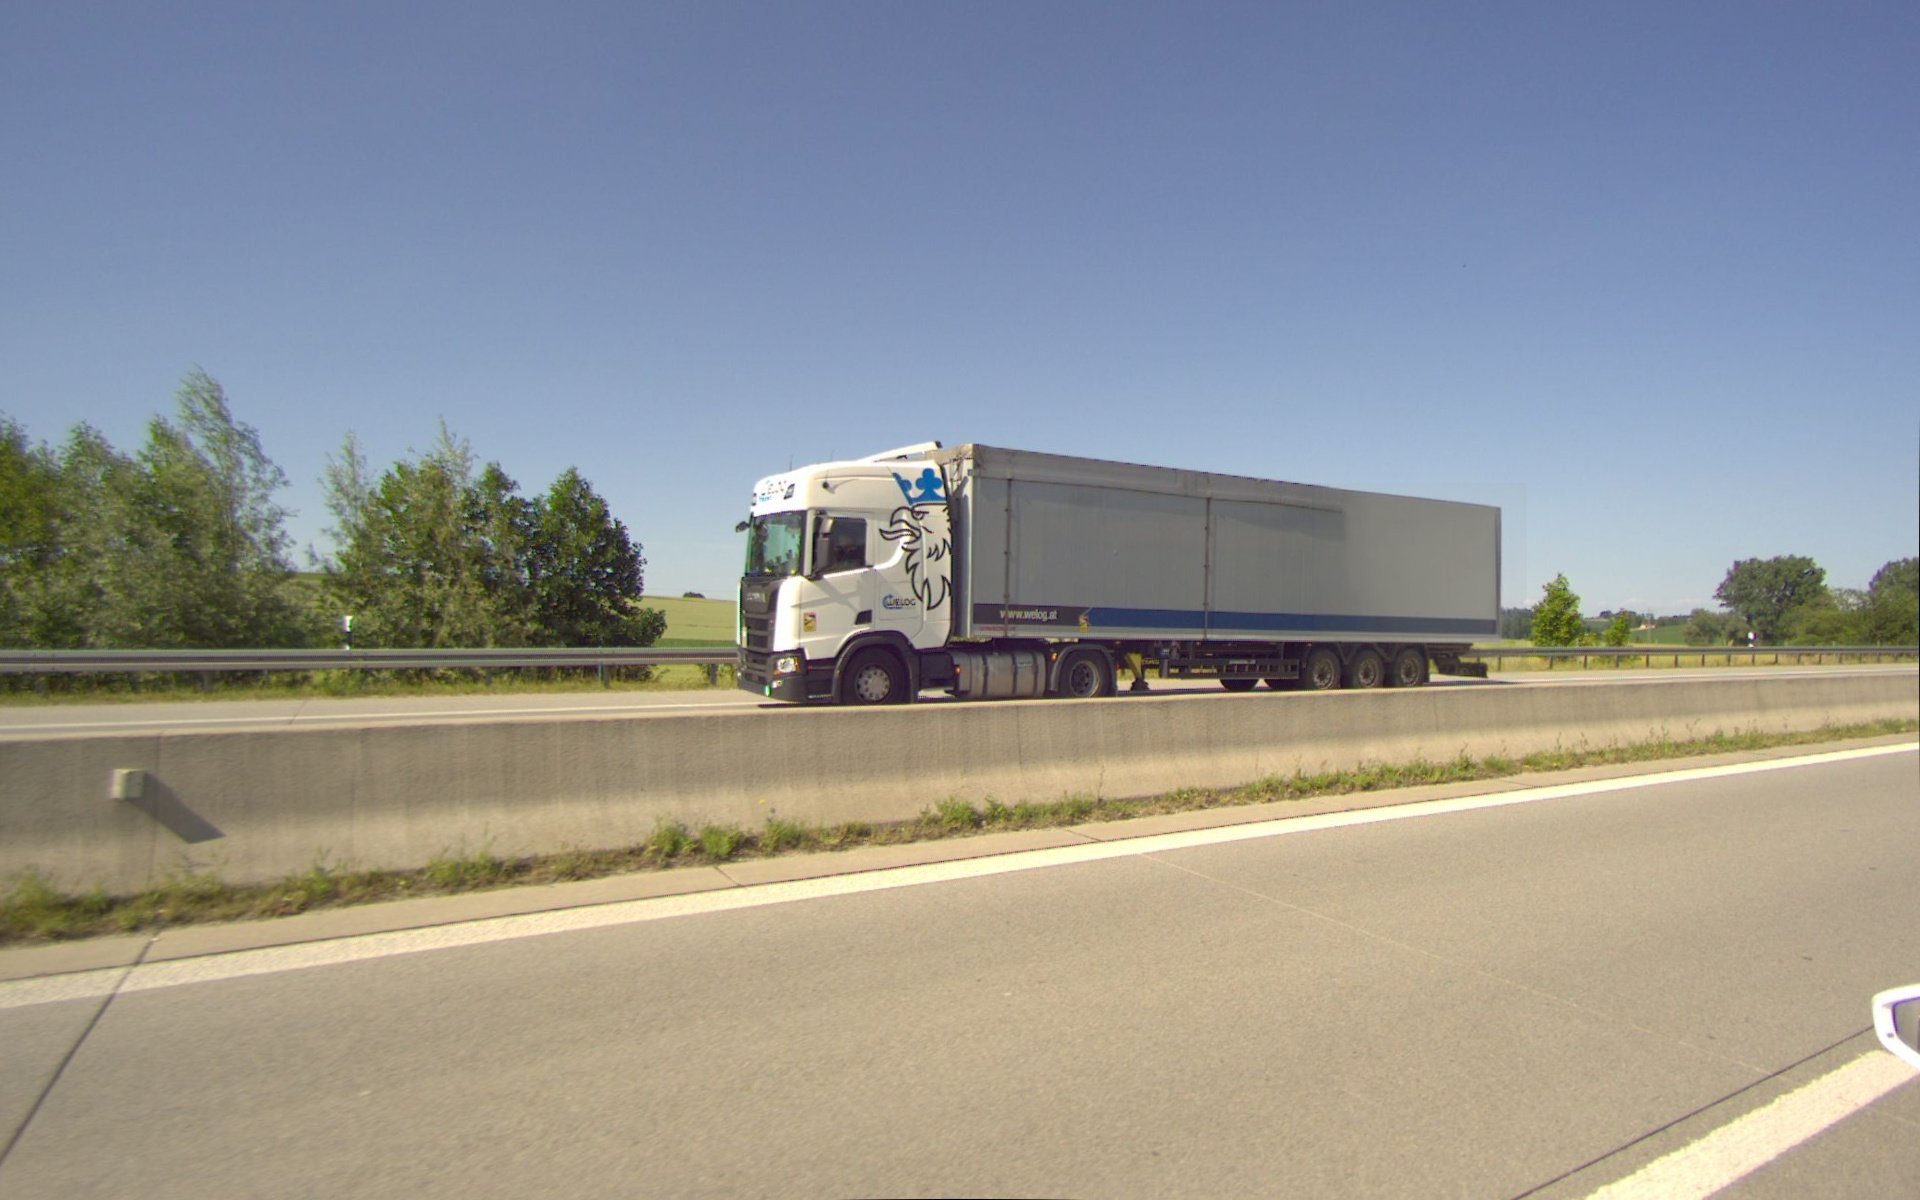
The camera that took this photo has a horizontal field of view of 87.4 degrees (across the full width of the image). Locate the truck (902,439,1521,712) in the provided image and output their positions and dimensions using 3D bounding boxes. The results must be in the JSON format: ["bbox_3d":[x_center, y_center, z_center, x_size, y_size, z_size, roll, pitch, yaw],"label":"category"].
[{"bbox_3d":[5.631,-0.174,19.675,13.706,4.061,2.846,2,-1,-31],"label":"truck"}]

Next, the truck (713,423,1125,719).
[{"bbox_3d":[-0.592,-0.293,16.023,5.912,3.924,2.848,2,-1,-30],"label":"truck"}]
